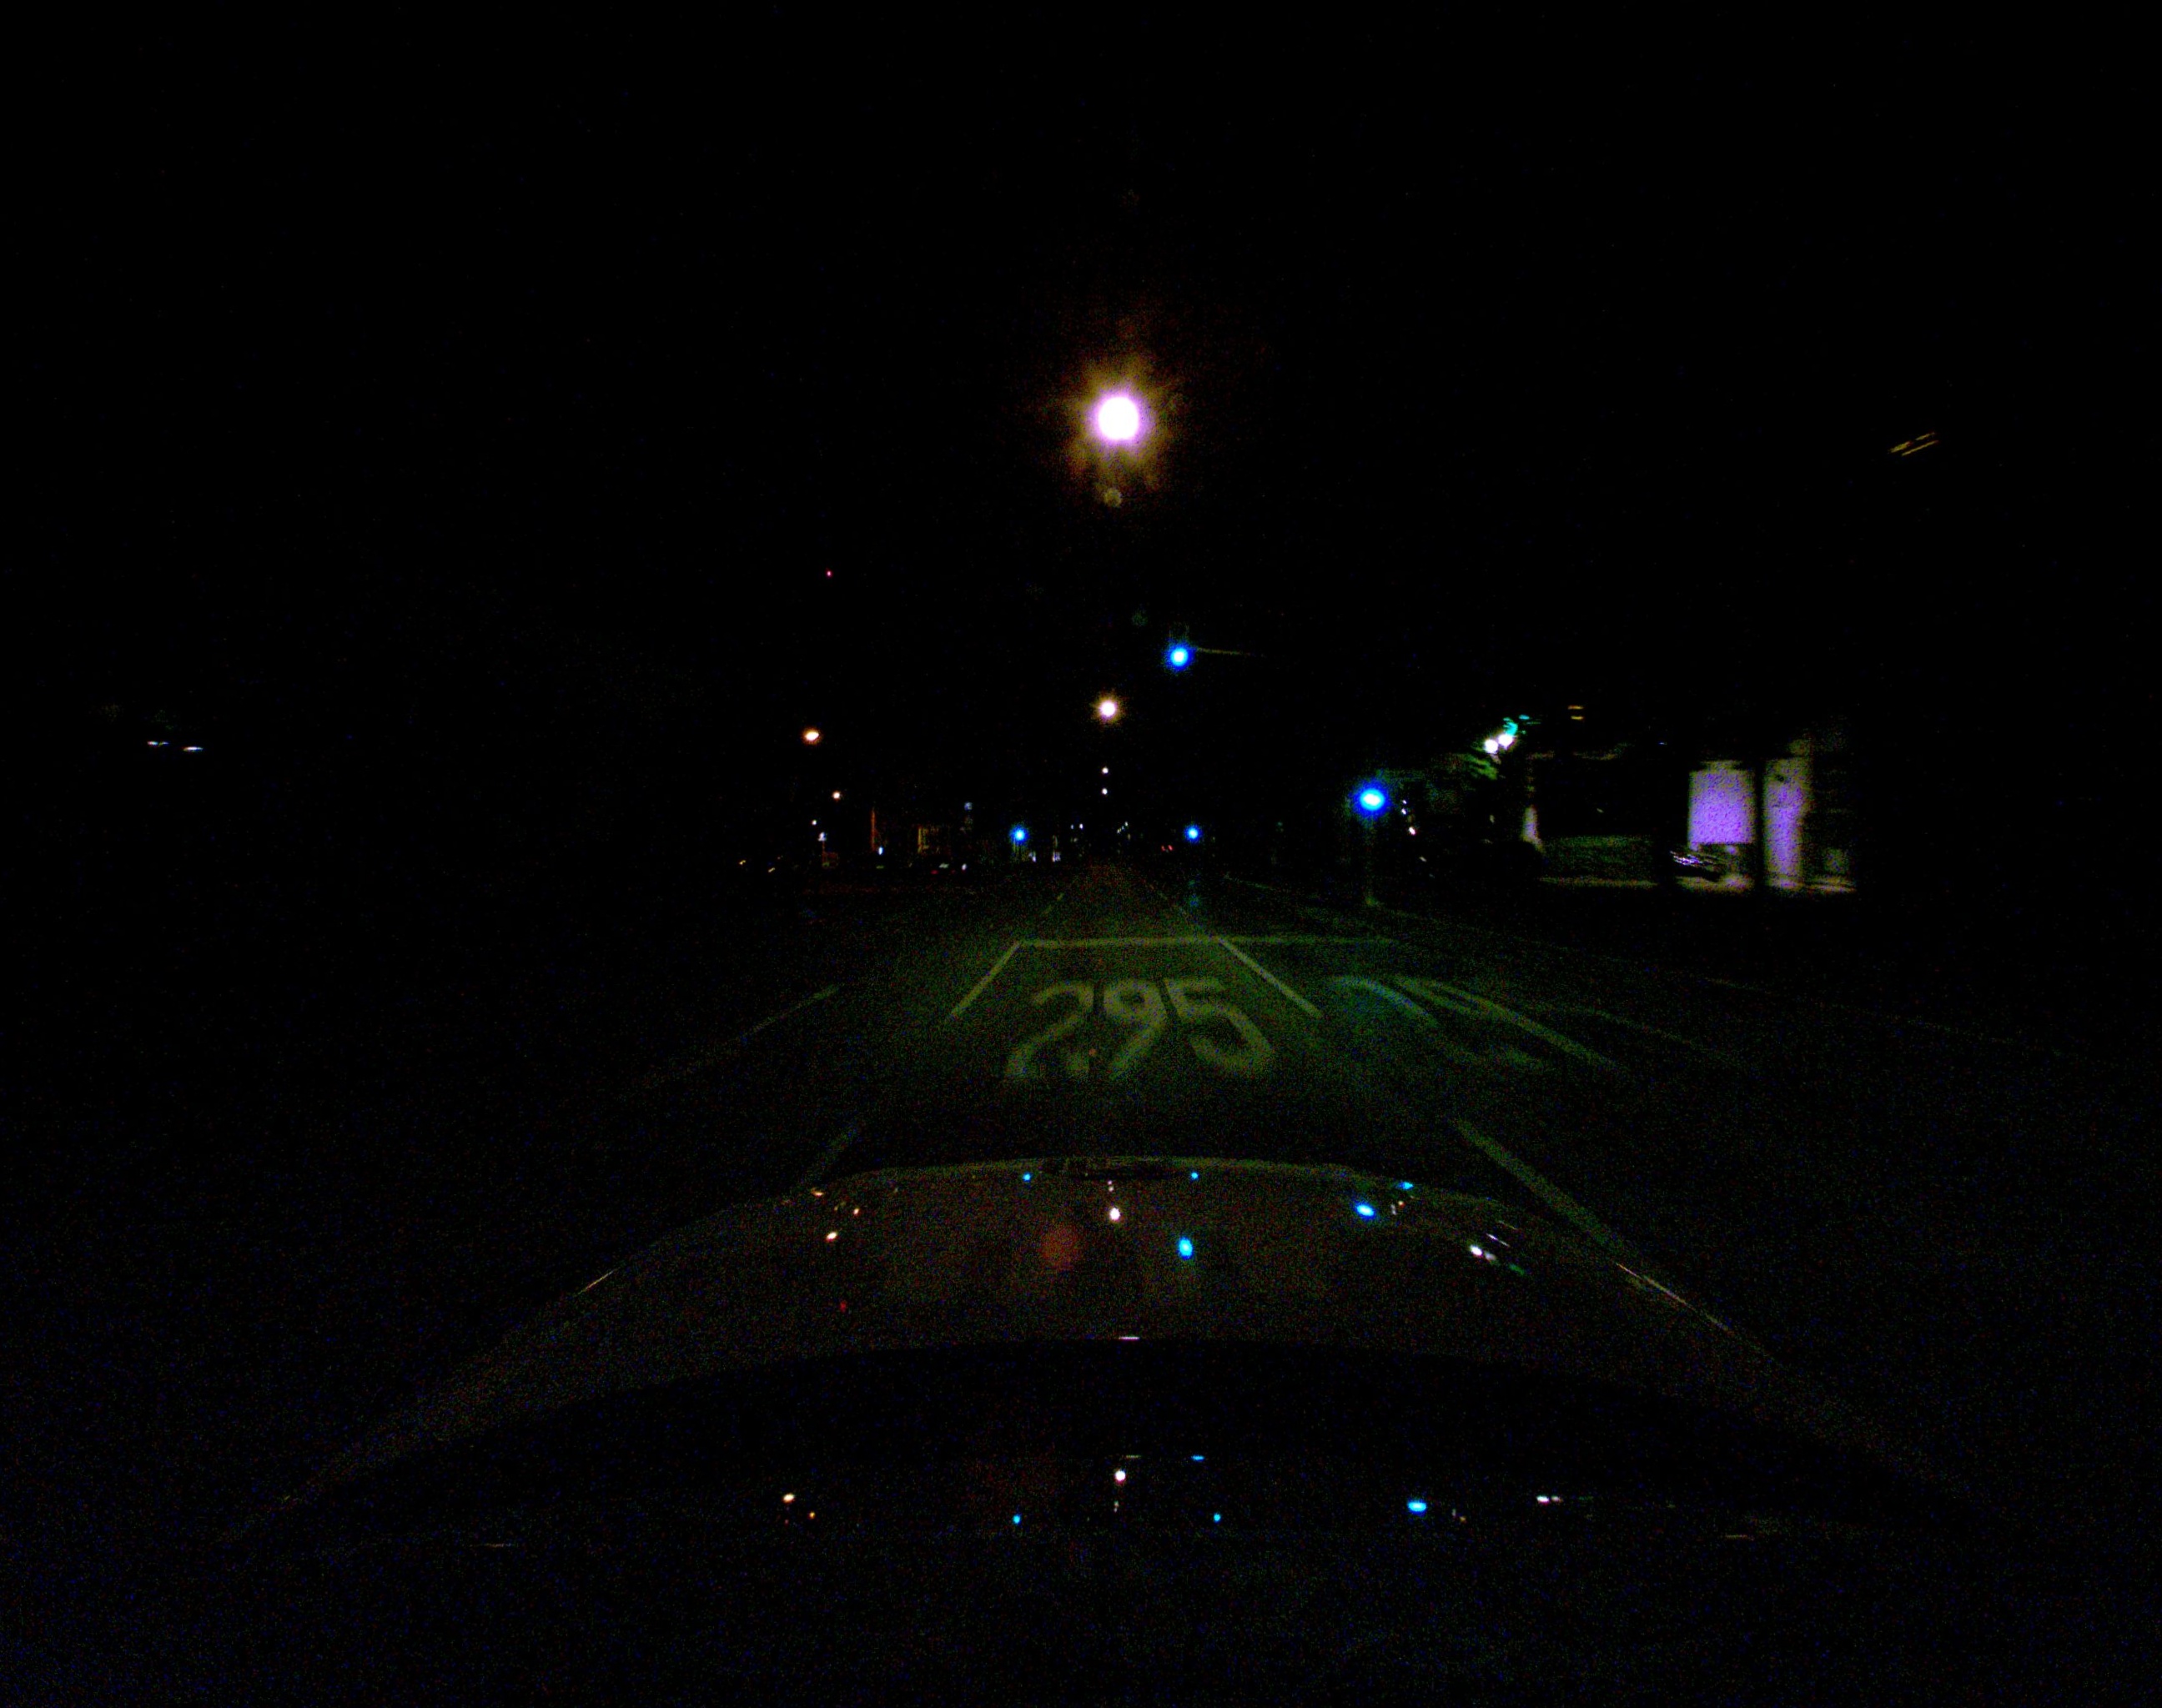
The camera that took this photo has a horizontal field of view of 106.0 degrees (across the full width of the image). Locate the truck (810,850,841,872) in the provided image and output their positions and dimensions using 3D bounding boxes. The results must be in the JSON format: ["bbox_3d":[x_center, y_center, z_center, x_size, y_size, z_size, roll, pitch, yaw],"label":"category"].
[{"bbox_3d":[-22.488,0.595,71.634,1.900,1.807,4.078,-1,0,-27],"label":"truck"}]

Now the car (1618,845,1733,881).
[{"bbox_3d":[20.432,0.295,28.163,1.452,1.168,3.540,-1,0,1],"label":"car"}]

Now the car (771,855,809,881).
[{"bbox_3d":[-19.997,0.966,55.905,1.847,1.613,4.222,-3,1,-27],"label":"car"}]

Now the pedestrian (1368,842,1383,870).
[{"bbox_3d":[16.020,0.098,44.332,0.570,1.533,0.634,-1,0,2],"label":"pedestrian"}]

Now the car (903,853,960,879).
[{"bbox_3d":[-9.036,0.706,48.896,1.898,1.424,4.684,-2,1,-30],"label":"car"}]

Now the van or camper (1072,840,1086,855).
[{"bbox_3d":[-0.283,-1.129,143.623,2.150,2.535,6.228,-4,0,1],"label":"van or camper"}]

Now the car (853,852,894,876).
[{"bbox_3d":[-14.711,0.701,57.643,1.924,1.644,4.075,1,-1,-27],"label":"car"}]

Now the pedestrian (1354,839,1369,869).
[{"bbox_3d":[15.634,-0.011,45.381,0.619,1.639,0.679,-1,0,2],"label":"pedestrian"}]

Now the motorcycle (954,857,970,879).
[{"bbox_3d":[-6.645,0.749,45.395,0.573,1.179,2.021,-1,1,-15],"label":"motorcycle"}]

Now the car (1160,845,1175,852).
[{"bbox_3d":[16.379,-1.050,154.479,1.648,1.342,3.647,-1,0,25],"label":"car"}]

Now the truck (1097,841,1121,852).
[{"bbox_3d":[7.975,-2.135,231.588,6.758,2.844,1.999,-1,1,-2],"label":"truck"}]

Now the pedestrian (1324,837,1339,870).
[{"bbox_3d":[14.122,-0.022,45.928,0.619,1.811,0.759,-1,0,2],"label":"pedestrian"}]

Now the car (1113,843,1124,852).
[{"bbox_3d":[7.156,-1.275,153.958,1.876,1.603,4.111,-3,0,3],"label":"car"}]

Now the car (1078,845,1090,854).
[{"bbox_3d":[0.615,-0.832,154.549,1.836,1.507,4.733,-2,0,-5],"label":"car"}]

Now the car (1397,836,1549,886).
[{"bbox_3d":[12.688,0.208,26.540,4.067,1.454,1.787,-2,0,0],"label":"car"}]
